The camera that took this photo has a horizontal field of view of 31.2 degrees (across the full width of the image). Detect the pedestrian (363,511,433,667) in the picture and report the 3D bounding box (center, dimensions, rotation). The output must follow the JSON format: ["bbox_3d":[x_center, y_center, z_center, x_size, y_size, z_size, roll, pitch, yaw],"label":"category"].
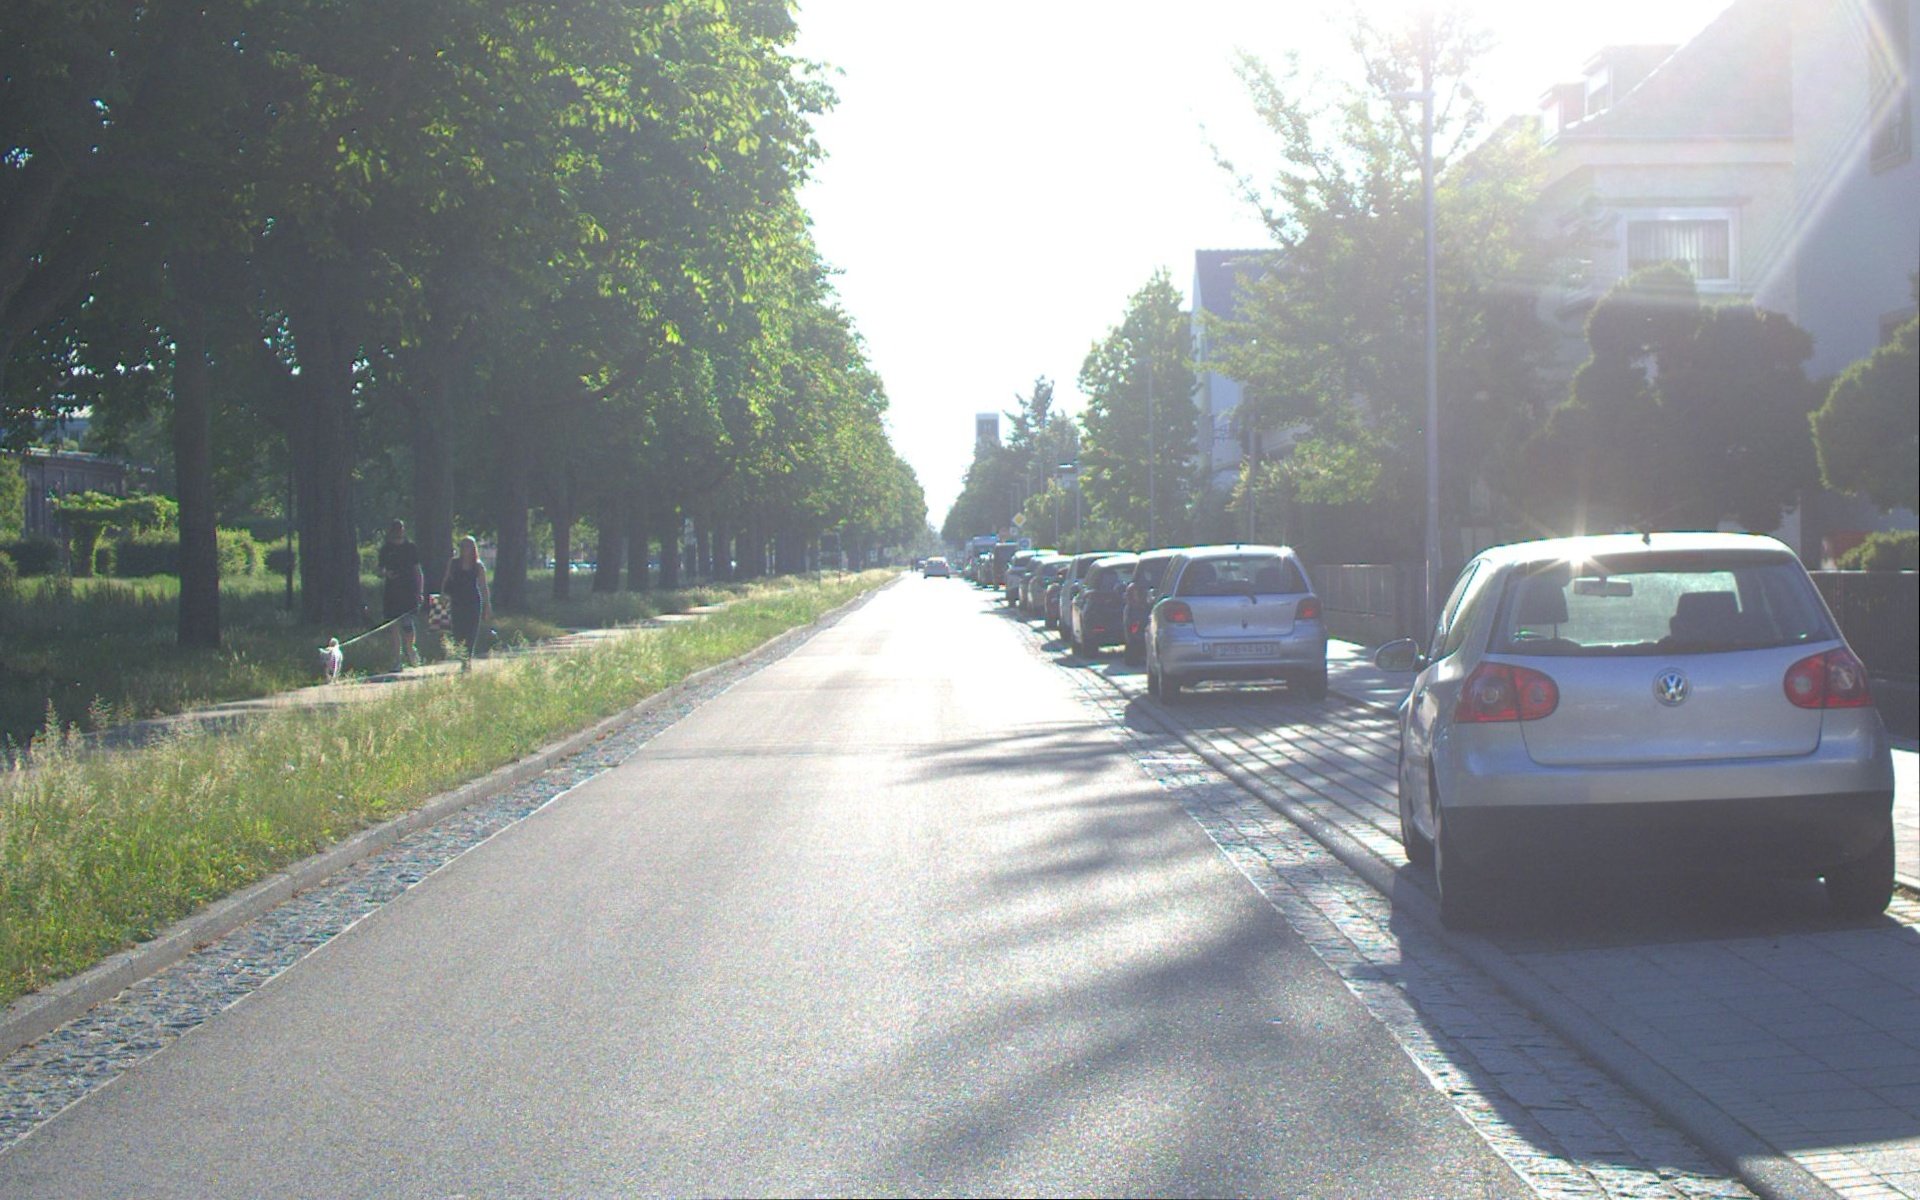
[{"bbox_3d":[-6.635,-0.139,40.621,0.624,1.824,0.886,0,1,3],"label":"pedestrian"}]

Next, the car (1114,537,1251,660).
[{"bbox_3d":[2.877,-0.027,44.582,1.658,1.489,3.715,-2,0,3],"label":"car"}]

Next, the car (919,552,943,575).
[{"bbox_3d":[-1.981,-2.520,237.947,1.652,1.536,3.267,1,0,0],"label":"car"}]

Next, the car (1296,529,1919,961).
[{"bbox_3d":[2.558,0.500,14.428,1.744,1.469,3.922,-3,1,-1],"label":"car"}]

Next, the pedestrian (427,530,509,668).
[{"bbox_3d":[-5.828,-0.017,40.763,0.783,1.609,0.952,0,1,3],"label":"pedestrian"}]

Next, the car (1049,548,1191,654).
[{"bbox_3d":[2.311,0.013,50.613,1.736,1.444,4.197,-2,0,-1],"label":"car"}]

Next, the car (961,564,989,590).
[{"bbox_3d":[0.937,-1.381,208.380,1.652,1.536,3.266,1,0,1],"label":"car"}]

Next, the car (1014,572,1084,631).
[{"bbox_3d":[2.140,0.021,83.458,1.652,1.391,3.266,-1,0,1],"label":"car"}]

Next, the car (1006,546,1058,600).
[{"bbox_3d":[2.131,-0.800,102.542,1.498,1.561,3.266,-1,0,1],"label":"car"}]

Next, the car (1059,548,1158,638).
[{"bbox_3d":[2.585,-0.132,60.340,1.592,1.505,3.591,-1,0,0],"label":"car"}]

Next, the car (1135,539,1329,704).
[{"bbox_3d":[2.665,0.169,34.380,1.627,1.499,3.633,-2,1,1],"label":"car"}]

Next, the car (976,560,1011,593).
[{"bbox_3d":[1.618,-1.110,164.122,1.652,1.536,3.266,1,0,1],"label":"car"}]
